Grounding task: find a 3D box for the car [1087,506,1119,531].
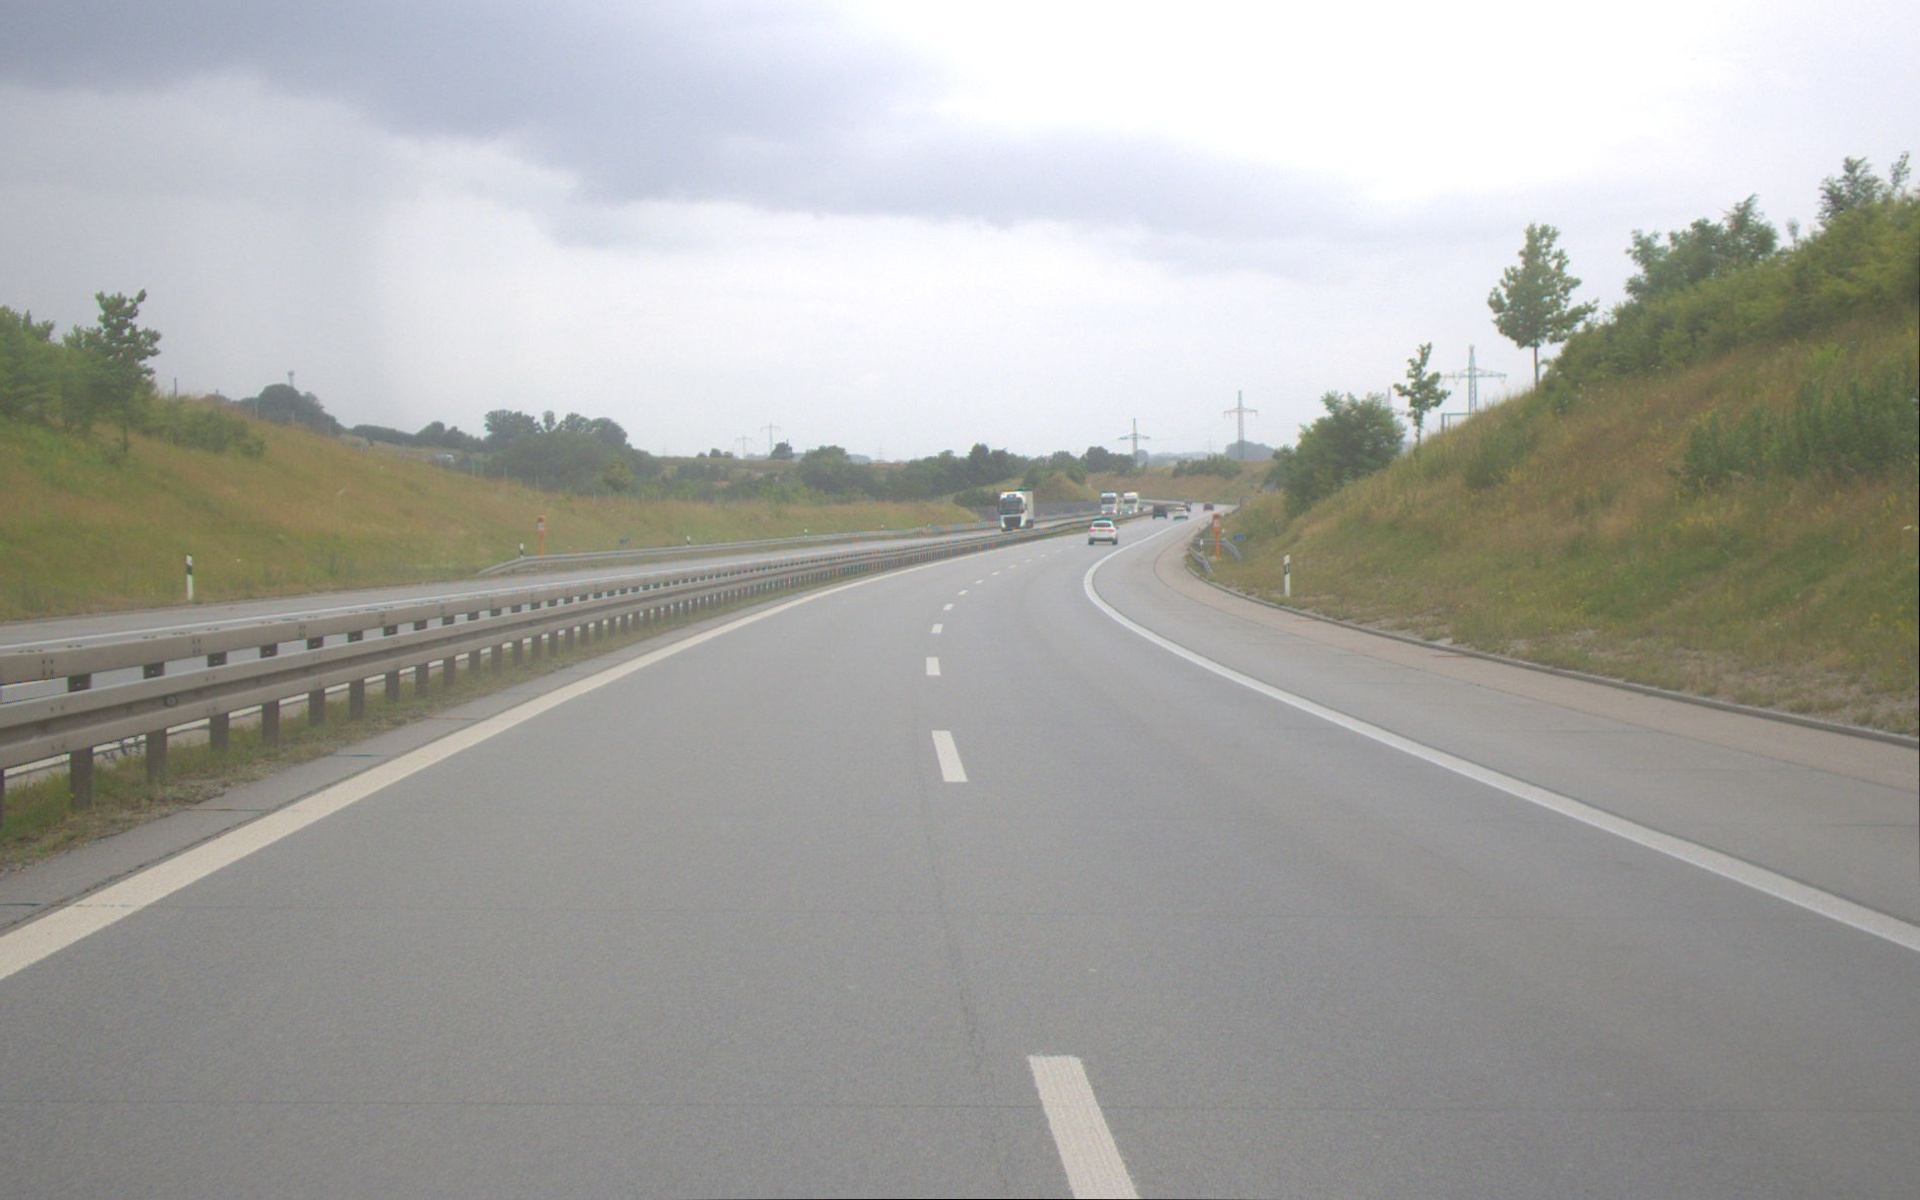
[{"bbox_3d":[9.687,-5.515,232.536,1.957,1.645,3.999,0,1,5],"label":"car"}]
